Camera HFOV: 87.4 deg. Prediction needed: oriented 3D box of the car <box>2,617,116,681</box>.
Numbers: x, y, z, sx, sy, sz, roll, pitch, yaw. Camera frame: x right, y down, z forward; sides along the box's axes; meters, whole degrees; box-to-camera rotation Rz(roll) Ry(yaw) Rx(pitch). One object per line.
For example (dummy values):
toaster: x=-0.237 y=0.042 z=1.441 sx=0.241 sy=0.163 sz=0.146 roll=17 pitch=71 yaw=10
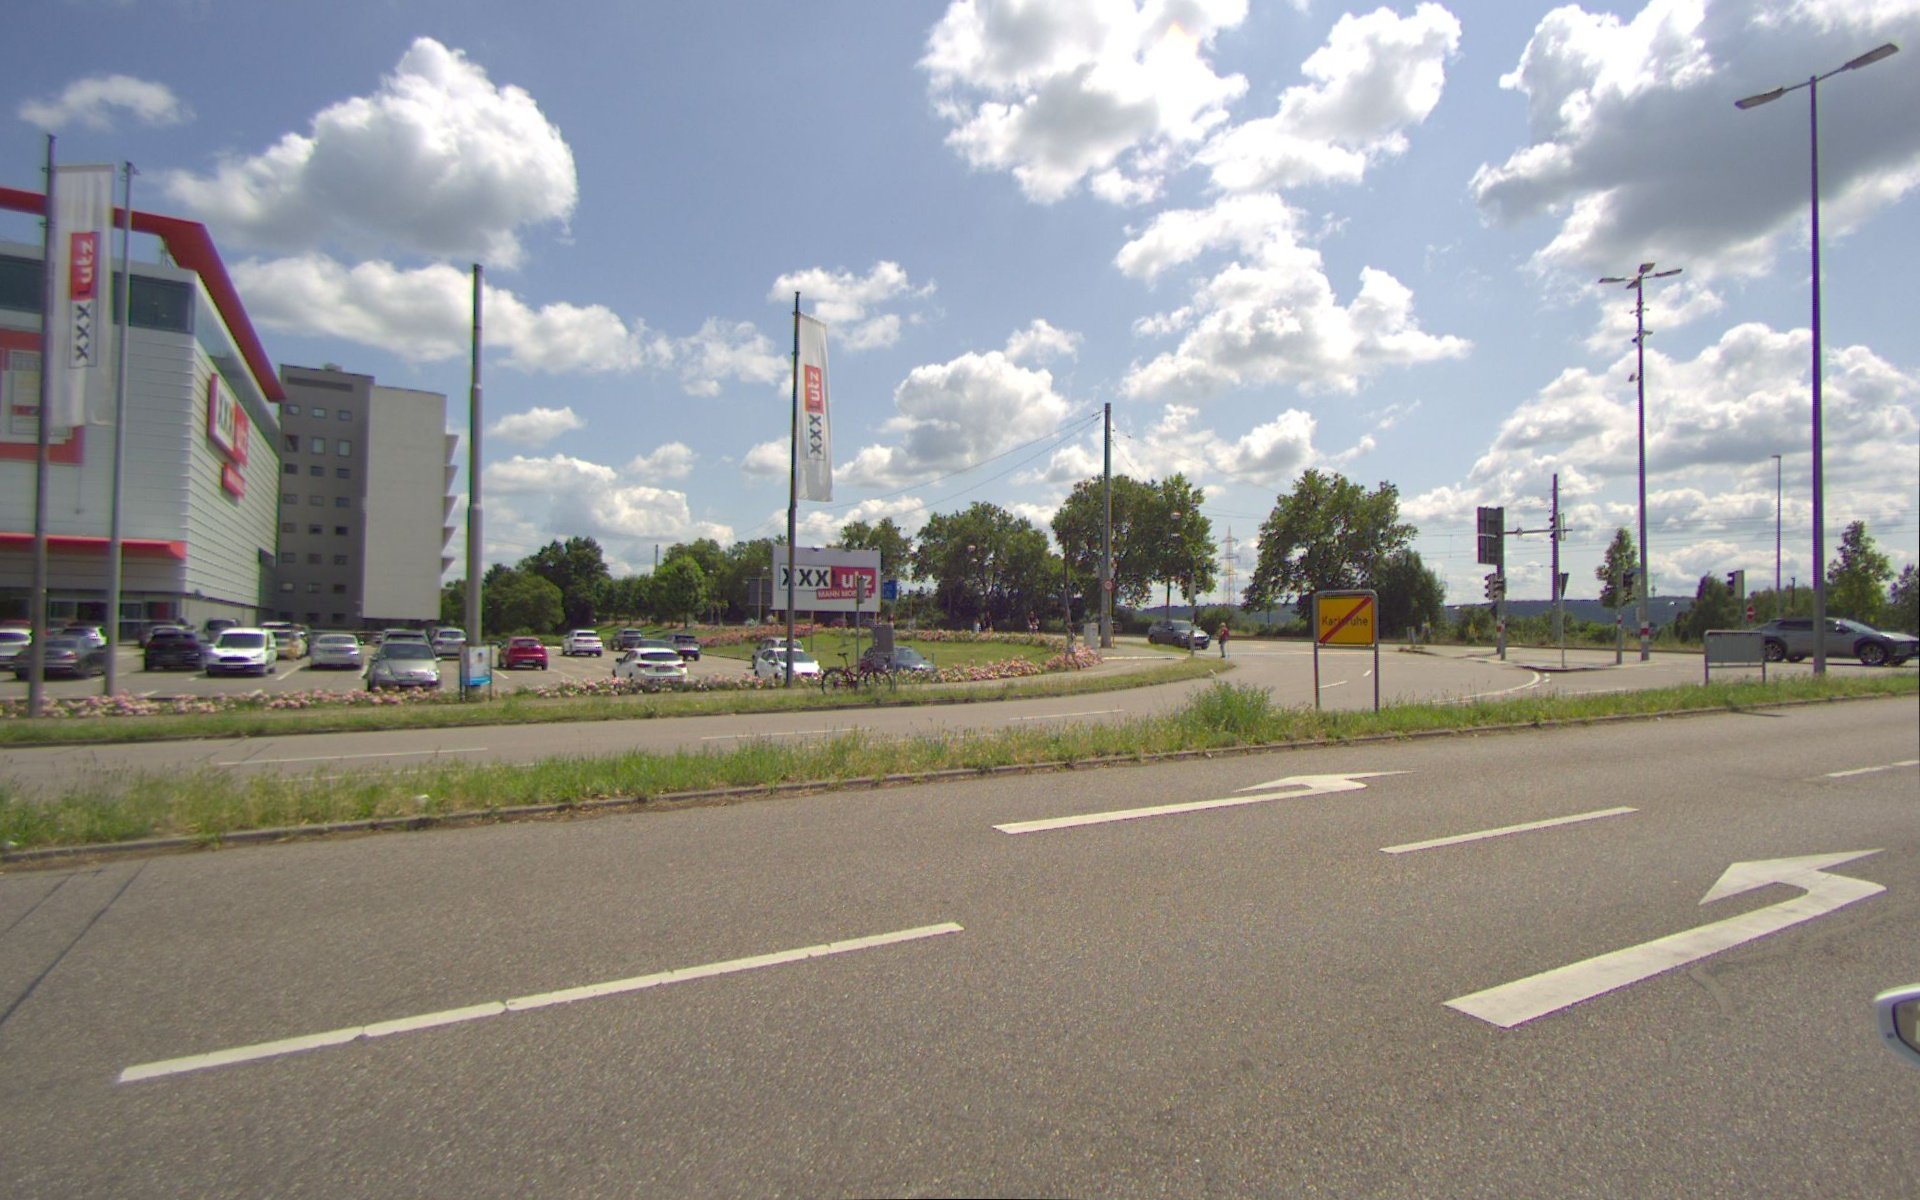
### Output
car: x=-30.290 y=1.622 z=33.914 sx=1.977 sy=2.015 sz=4.328 roll=1 pitch=-3 yaw=-30

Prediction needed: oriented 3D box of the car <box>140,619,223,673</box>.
car: x=-30.457 y=1.786 z=39.435 sx=1.977 sy=2.015 sz=4.328 roll=1 pitch=-3 yaw=-30

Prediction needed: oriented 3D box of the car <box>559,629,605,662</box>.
car: x=-23.417 y=2.801 z=62.132 sx=1.977 sy=2.015 sz=4.328 roll=1 pitch=-3 yaw=-30

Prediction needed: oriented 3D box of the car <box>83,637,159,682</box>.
car: x=-39.364 y=2.764 z=47.228 sx=1.977 sy=2.015 sz=4.328 roll=1 pitch=-3 yaw=-30

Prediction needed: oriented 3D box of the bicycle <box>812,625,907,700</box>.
bicycle: x=-2.399 y=1.463 z=23.890 sx=2.024 sy=1.697 sz=1.013 roll=1 pitch=-2 yaw=-30

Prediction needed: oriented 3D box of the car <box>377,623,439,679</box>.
car: x=-21.625 y=1.946 z=39.283 sx=1.977 sy=2.015 sz=4.560 roll=2 pitch=-2 yaw=-30

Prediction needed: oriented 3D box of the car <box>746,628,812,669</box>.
car: x=-9.445 y=2.513 z=52.175 sx=1.977 sy=2.015 sz=4.328 roll=1 pitch=-3 yaw=-30

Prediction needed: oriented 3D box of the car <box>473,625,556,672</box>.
car: x=-20.593 y=2.211 z=46.312 sx=1.985 sy=2.015 sz=5.245 roll=2 pitch=-3 yaw=-42

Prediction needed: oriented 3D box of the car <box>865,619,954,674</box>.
car: x=-2.057 y=1.814 z=39.709 sx=1.976 sy=2.040 sz=3.970 roll=1 pitch=-2 yaw=-29

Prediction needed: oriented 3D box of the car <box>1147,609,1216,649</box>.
car: x=11.651 y=1.555 z=53.100 sx=1.966 sy=2.040 sz=3.990 roll=0 pitch=-2 yaw=-13

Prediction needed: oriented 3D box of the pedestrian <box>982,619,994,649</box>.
pedestrian: x=1.700 y=2.084 z=61.376 sx=0.588 sy=1.834 sz=0.532 roll=0 pitch=-2 yaw=-20

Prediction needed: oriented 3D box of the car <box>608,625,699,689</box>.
car: x=-10.397 y=1.882 z=33.877 sx=1.977 sy=2.015 sz=4.328 roll=1 pitch=-3 yaw=-30

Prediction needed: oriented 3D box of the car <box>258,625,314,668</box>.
car: x=-33.281 y=2.271 z=49.675 sx=1.977 sy=2.015 sz=4.054 roll=1 pitch=-3 yaw=-30

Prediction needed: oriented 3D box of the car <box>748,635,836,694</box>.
car: x=-6.214 y=2.299 z=36.806 sx=1.976 sy=2.040 sz=3.971 roll=1 pitch=-2 yaw=-29

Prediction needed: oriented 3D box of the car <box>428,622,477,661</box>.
car: x=-27.266 y=2.211 z=53.884 sx=1.977 sy=2.015 sz=4.589 roll=1 pitch=-3 yaw=-31

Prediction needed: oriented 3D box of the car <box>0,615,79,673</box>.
car: x=-34.888 y=1.641 z=37.590 sx=1.977 sy=2.015 sz=4.328 roll=3 pitch=-3 yaw=-30

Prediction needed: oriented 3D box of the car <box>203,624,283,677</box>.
car: x=-26.535 y=1.845 z=37.305 sx=1.977 sy=1.863 sz=4.328 roll=1 pitch=-3 yaw=-30

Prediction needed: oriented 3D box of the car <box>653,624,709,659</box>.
car: x=-16.860 y=2.481 z=60.638 sx=2.223 sy=2.015 sz=4.328 roll=1 pitch=-3 yaw=-30

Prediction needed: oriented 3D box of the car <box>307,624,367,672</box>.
car: x=-26.286 y=2.018 z=42.481 sx=1.977 sy=1.906 sz=4.328 roll=1 pitch=-3 yaw=-30

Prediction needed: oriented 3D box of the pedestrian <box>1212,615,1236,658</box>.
pedestrian: x=11.776 y=1.619 z=44.804 sx=0.784 sy=1.862 sz=0.865 roll=2 pitch=0 yaw=31

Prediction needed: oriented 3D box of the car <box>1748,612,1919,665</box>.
car: x=30.425 y=1.332 z=34.837 sx=1.881 sy=1.696 sz=4.486 roll=1 pitch=-3 yaw=-29

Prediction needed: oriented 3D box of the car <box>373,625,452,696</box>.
car: x=-16.875 y=1.819 z=30.884 sx=1.977 sy=2.015 sz=4.328 roll=1 pitch=-3 yaw=-30

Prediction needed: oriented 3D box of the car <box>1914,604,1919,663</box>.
car: x=34.852 y=1.100 z=33.280 sx=1.977 sy=2.015 sz=4.328 roll=1 pitch=-3 yaw=-30

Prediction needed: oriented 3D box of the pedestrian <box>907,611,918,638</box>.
pedestrian: x=-3.615 y=1.844 z=76.201 sx=0.761 sy=2.040 sz=0.566 roll=0 pitch=-2 yaw=-9

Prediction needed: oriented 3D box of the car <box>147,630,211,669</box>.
car: x=-39.971 y=2.509 z=51.520 sx=1.977 sy=1.906 sz=4.328 roll=1 pitch=-3 yaw=-30
